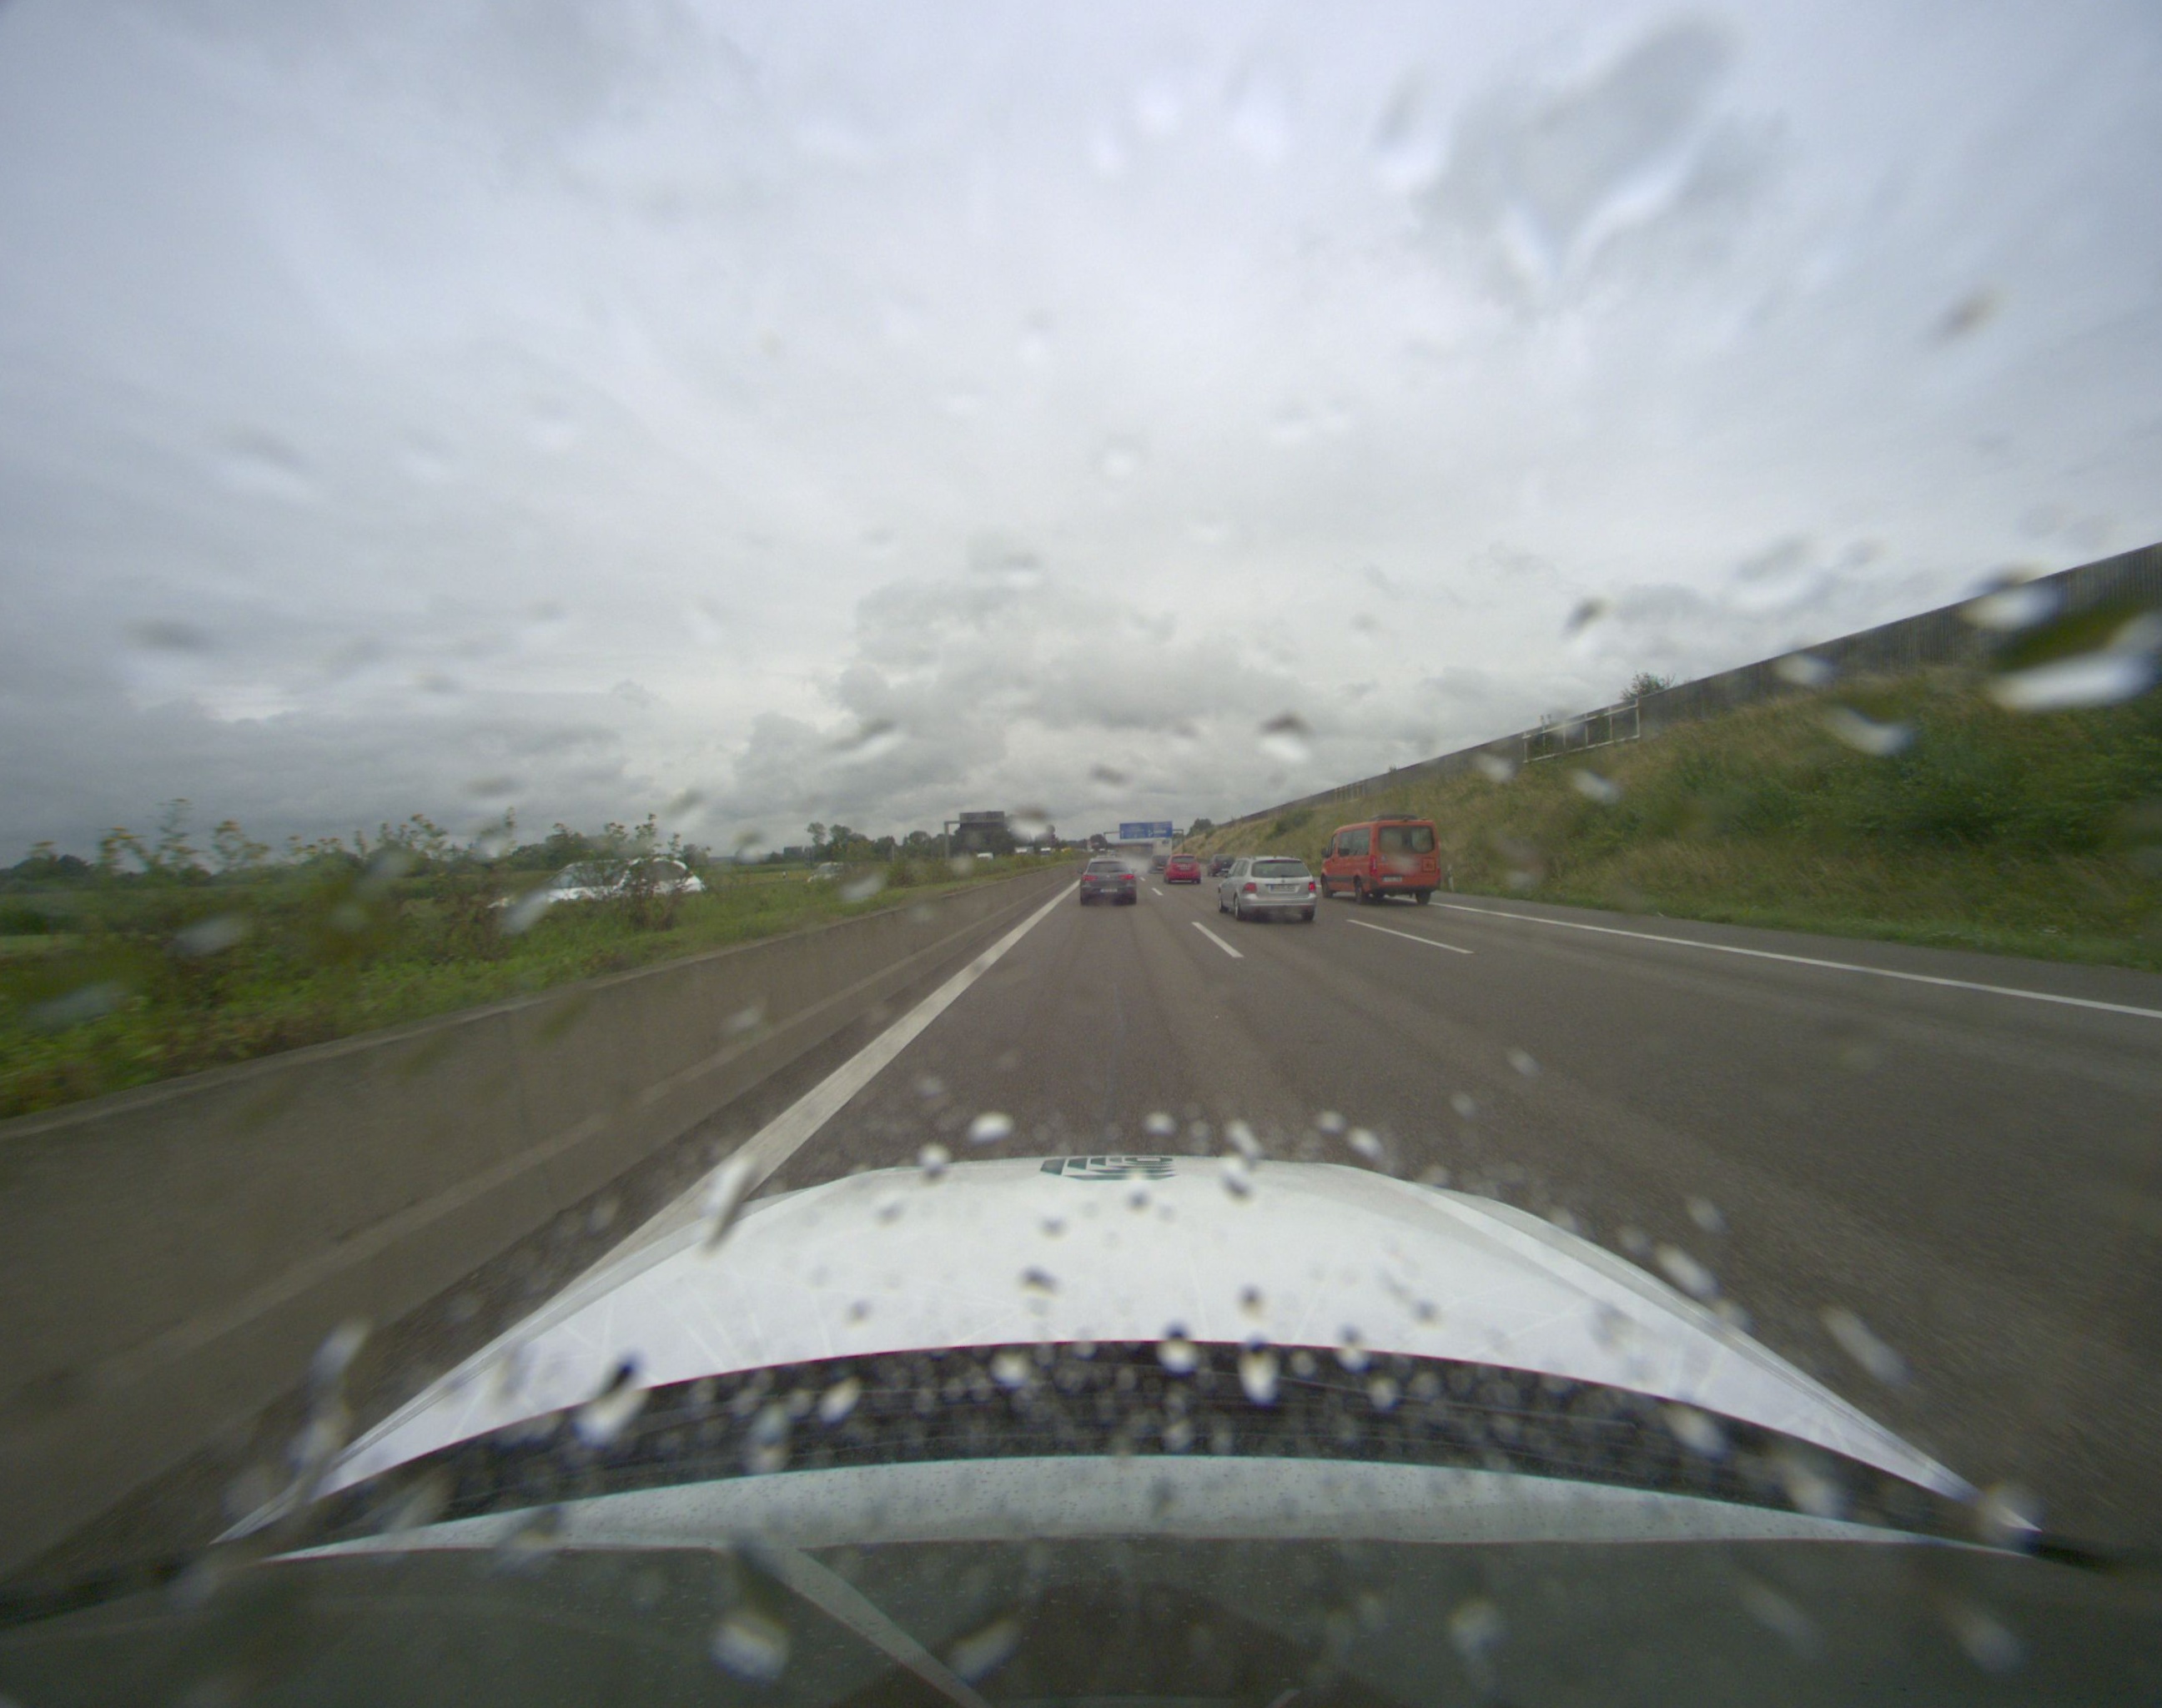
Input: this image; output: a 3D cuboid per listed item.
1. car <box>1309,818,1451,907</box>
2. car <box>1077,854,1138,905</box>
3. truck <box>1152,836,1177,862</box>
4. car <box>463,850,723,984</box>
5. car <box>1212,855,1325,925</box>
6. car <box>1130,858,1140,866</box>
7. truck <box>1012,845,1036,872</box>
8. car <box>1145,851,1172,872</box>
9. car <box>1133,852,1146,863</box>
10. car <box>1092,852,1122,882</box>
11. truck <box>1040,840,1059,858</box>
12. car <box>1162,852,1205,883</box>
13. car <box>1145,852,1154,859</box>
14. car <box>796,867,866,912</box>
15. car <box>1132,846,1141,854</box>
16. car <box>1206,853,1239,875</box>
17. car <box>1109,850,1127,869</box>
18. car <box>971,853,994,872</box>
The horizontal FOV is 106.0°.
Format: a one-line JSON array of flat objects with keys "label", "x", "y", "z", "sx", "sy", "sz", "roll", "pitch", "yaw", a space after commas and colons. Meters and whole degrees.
[{"label": "car", "x": 8.857, "y": 0.217, "z": 24.856, "sx": 2.079, "sy": 2.315, "sz": 6.182, "roll": -1, "pitch": 0, "yaw": 1}, {"label": "car", "x": 0.861, "y": 0.760, "z": 25.850, "sx": 1.761, "sy": 1.467, "sz": 4.002, "roll": 0, "pitch": 0, "yaw": 2}, {"label": "truck", "x": 14.298, "y": -0.745, "z": 141.171, "sx": 3.270, "sy": 4.295, "sz": 19.046, "roll": 0, "pitch": 0, "yaw": 3}, {"label": "car", "x": -8.715, "y": 0.999, "z": 15.104, "sx": 1.986, "sy": 2.013, "sz": 4.350, "roll": -3, "pitch": 0, "yaw": 2}, {"label": "car", "x": 4.326, "y": 0.762, "z": 19.464, "sx": 1.735, "sy": 1.425, "sz": 4.518, "roll": -2, "pitch": 0, "yaw": 1}, {"label": "car", "x": 11.003, "y": 1.672, "z": 166.652, "sx": 1.745, "sy": 1.517, "sz": 4.001, "roll": -2, "pitch": 0, "yaw": 1}, {"label": "truck", "x": -10.309, "y": 0.840, "z": 149.077, "sx": 3.211, "sy": 4.649, "sz": 9.681, "roll": 0, "pitch": 0, "yaw": 3}, {"label": "car", "x": 6.108, "y": 0.570, "z": 64.873, "sx": 1.913, "sy": 1.522, "sz": 4.626, "roll": -1, "pitch": 0, "yaw": 3}, {"label": "car", "x": 9.190, "y": 0.541, "z": 128.277, "sx": 1.838, "sy": 1.687, "sz": 4.002, "roll": 0, "pitch": 0, "yaw": 2}, {"label": "car", "x": 1.651, "y": 0.790, "z": 50.390, "sx": 1.747, "sy": 1.750, "sz": 4.003, "roll": 0, "pitch": 0, "yaw": 3}, {"label": "truck", "x": -7.098, "y": -1.028, "z": 184.847, "sx": 3.169, "sy": 3.967, "sz": 10.823, "roll": 0, "pitch": 0, "yaw": 4}, {"label": "car", "x": 5.272, "y": 0.649, "z": 42.406, "sx": 1.883, "sy": 1.446, "sz": 4.688, "roll": -1, "pitch": 0, "yaw": 3}, {"label": "car", "x": 18.592, "y": 0.486, "z": 221.401, "sx": 1.986, "sy": 1.860, "sz": 4.391, "roll": -2, "pitch": 0, "yaw": 1}, {"label": "car", "x": -12.662, "y": 1.746, "z": 41.567, "sx": 1.986, "sy": 2.013, "sz": 4.350, "roll": -3, "pitch": 0, "yaw": 2}, {"label": "car", "x": 14.255, "y": -1.100, "z": 210.133, "sx": 1.987, "sy": 2.013, "sz": 4.000, "roll": -2, "pitch": 0, "yaw": 1}, {"label": "car", "x": 9.194, "y": 0.631, "z": 53.316, "sx": 1.695, "sy": 1.401, "sz": 3.878, "roll": 0, "pitch": 0, "yaw": 3}, {"label": "car", "x": 3.684, "y": 0.568, "z": 82.198, "sx": 1.698, "sy": 1.796, "sz": 3.857, "roll": -3, "pitch": 0, "yaw": 2}, {"label": "car", "x": -13.996, "y": 1.226, "z": 116.091, "sx": 2.236, "sy": 2.530, "sz": 6.910, "roll": 0, "pitch": 0, "yaw": 3}]
